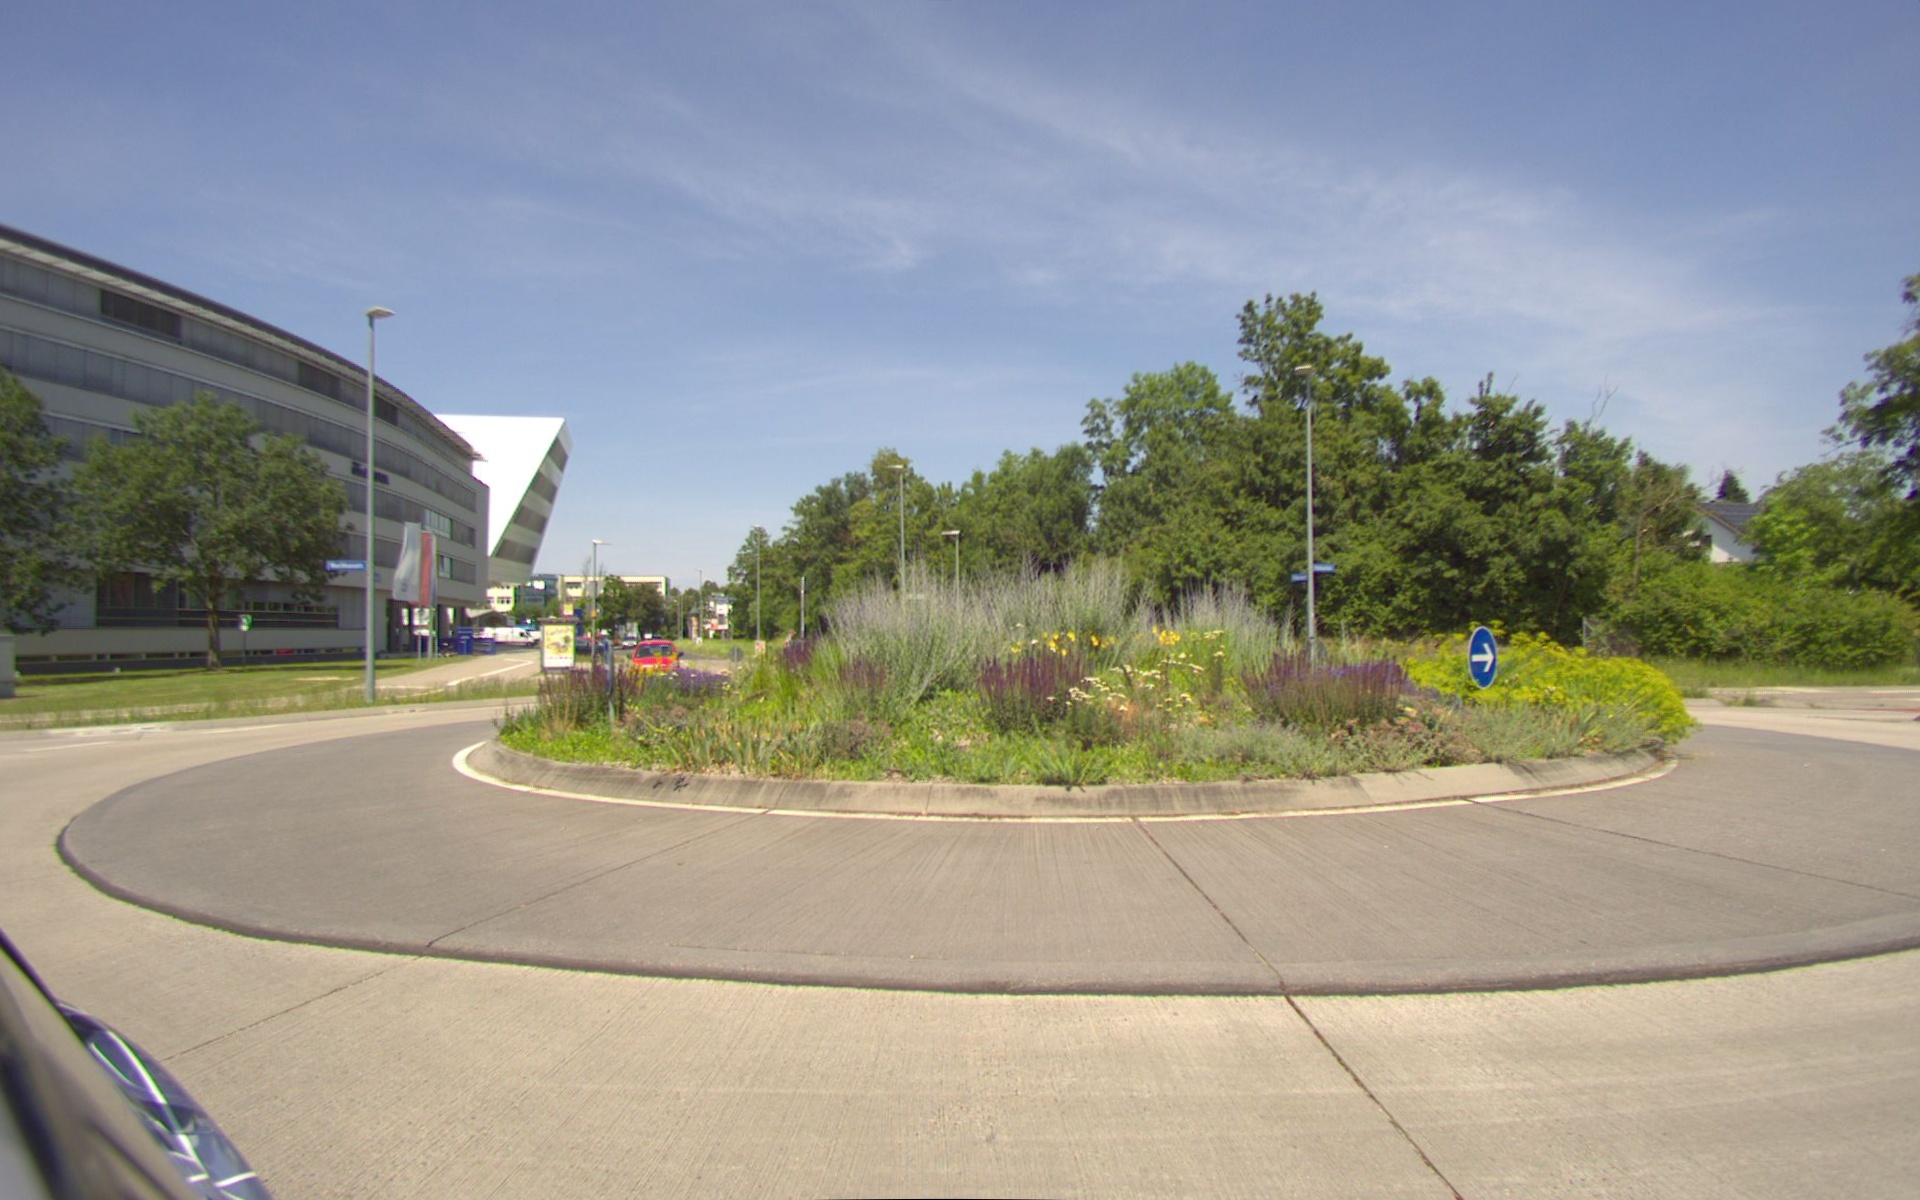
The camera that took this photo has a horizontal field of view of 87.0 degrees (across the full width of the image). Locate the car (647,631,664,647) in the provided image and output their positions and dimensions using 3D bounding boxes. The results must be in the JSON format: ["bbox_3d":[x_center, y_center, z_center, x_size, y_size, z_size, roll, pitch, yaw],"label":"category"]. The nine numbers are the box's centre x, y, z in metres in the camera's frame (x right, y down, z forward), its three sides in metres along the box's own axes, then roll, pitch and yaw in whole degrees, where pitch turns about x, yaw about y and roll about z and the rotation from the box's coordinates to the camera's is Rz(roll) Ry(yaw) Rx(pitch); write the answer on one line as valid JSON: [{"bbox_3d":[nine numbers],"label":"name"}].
[{"bbox_3d":[-41.197,5.223,136.879,1.966,2.029,4.012,-1,-1,-18],"label":"car"}]

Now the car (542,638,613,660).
[{"bbox_3d":[-26.530,3.426,70.322,4.503,1.443,1.833,2,-2,-20],"label":"car"}]

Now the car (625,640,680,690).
[{"bbox_3d":[-10.314,2.132,33.948,1.635,1.515,3.367,-1,-1,-17],"label":"car"}]

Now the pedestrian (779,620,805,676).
[{"bbox_3d":[-5.684,1.620,34.141,0.698,1.836,0.829,2,-2,-18],"label":"pedestrian"}]

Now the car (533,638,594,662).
[{"bbox_3d":[-28.571,3.569,72.981,3.932,1.668,1.844,0,-2,-17],"label":"car"}]

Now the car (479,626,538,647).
[{"bbox_3d":[-61.012,4.894,136.840,6.858,2.683,2.259,-1,-1,-10],"label":"car"}]
